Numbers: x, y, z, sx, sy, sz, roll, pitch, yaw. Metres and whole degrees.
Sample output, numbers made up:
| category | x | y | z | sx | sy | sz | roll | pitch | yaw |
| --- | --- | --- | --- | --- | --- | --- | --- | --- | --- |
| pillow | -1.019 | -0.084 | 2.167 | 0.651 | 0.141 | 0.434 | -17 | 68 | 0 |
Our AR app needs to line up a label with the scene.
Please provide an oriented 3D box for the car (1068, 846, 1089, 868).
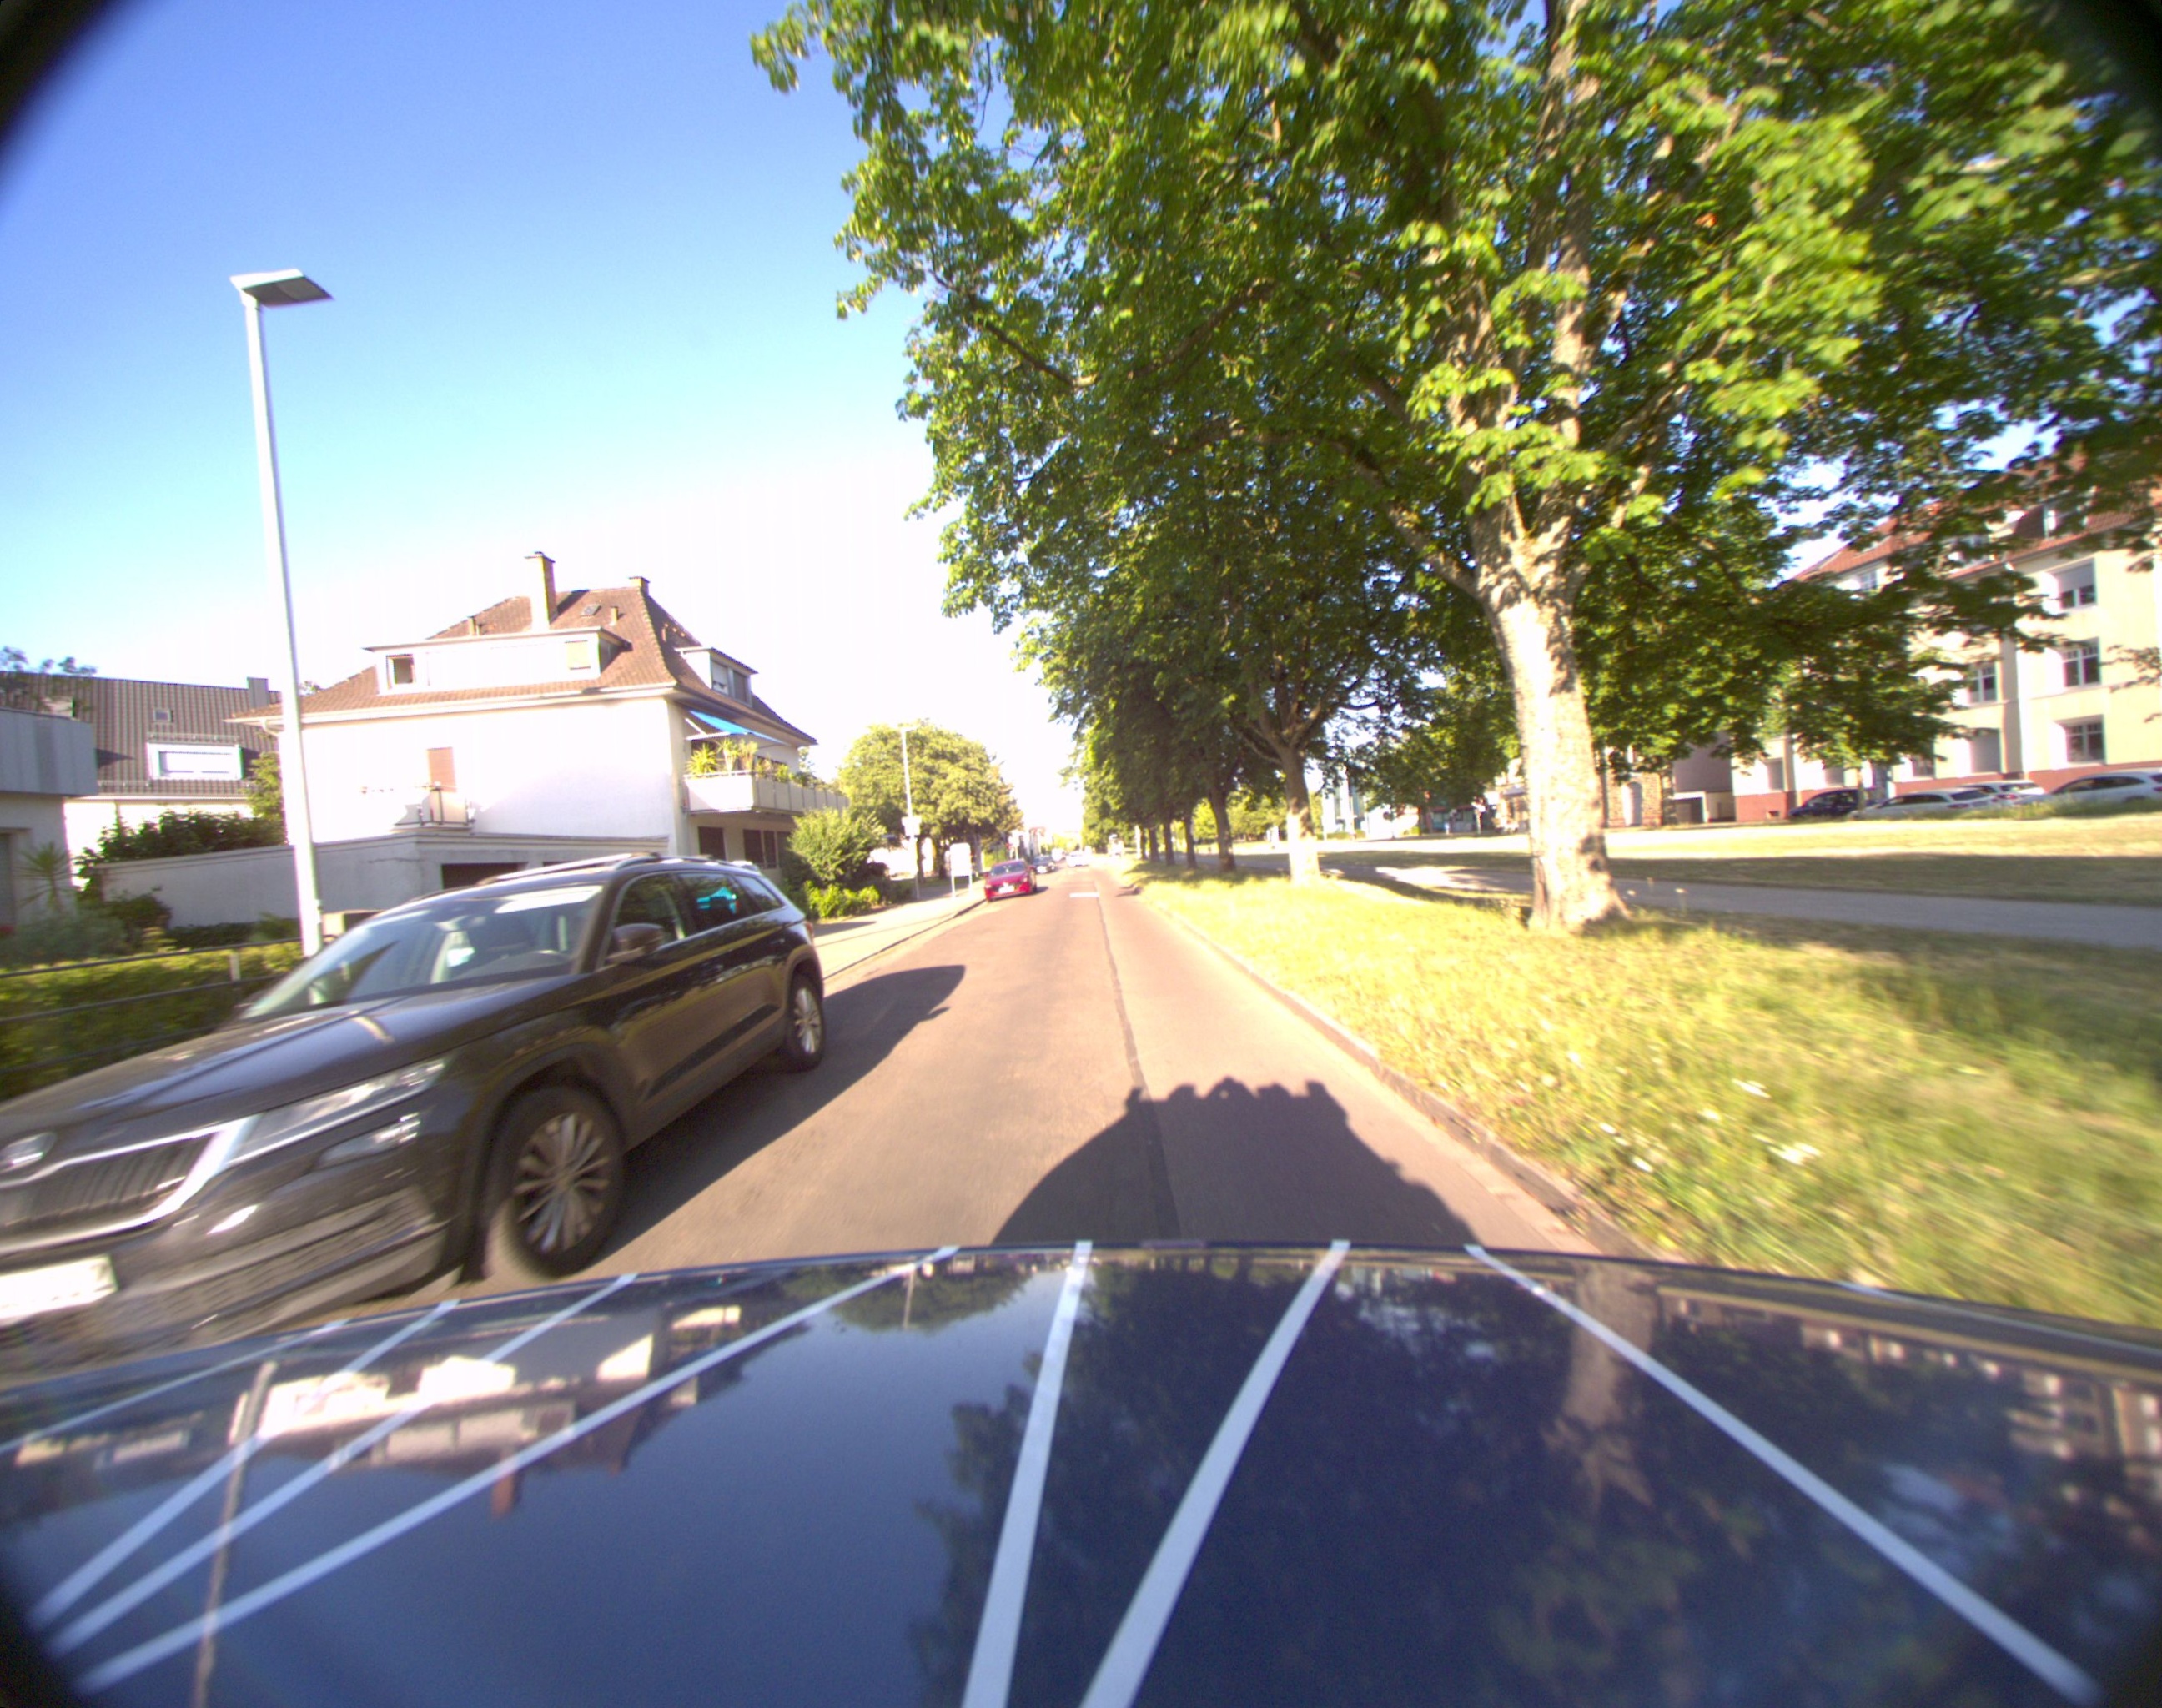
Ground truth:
| category | x | y | z | sx | sy | sz | roll | pitch | yaw |
| --- | --- | --- | --- | --- | --- | --- | --- | --- | --- |
| car | -0.225 | 0.317 | 78.025 | 1.998 | 2.002 | 3.999 | -6 | 1 | 1 |

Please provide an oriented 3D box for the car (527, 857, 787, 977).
| category | x | y | z | sx | sy | sz | roll | pitch | yaw |
| --- | --- | --- | --- | --- | --- | --- | --- | --- | --- |
| car | -8.454 | 1.195 | 15.481 | 3.998 | 1.917 | 1.999 | -5 | 1 | -3 |

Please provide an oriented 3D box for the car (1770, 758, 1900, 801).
| category | x | y | z | sx | sy | sz | roll | pitch | yaw |
| --- | --- | --- | --- | --- | --- | --- | --- | --- | --- |
| car | 40.170 | -3.927 | 40.693 | 1.999 | 1.680 | 4.874 | -5 | 1 | -1 |

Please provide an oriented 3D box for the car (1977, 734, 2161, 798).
| category | x | y | z | sx | sy | sz | roll | pitch | yaw |
| --- | --- | --- | --- | --- | --- | --- | --- | --- | --- |
| car | 34.123 | -2.953 | 25.640 | 1.998 | 1.680 | 4.875 | -5 | 1 | 1 |

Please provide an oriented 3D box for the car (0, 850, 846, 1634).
| category | x | y | z | sx | sy | sz | roll | pitch | yaw |
| --- | --- | --- | --- | --- | --- | --- | --- | --- | --- |
| car | -2.966 | 0.998 | 3.978 | 1.862 | 1.710 | 4.466 | -10 | 1 | -1 |

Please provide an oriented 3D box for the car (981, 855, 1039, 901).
| category | x | y | z | sx | sy | sz | roll | pitch | yaw |
| --- | --- | --- | --- | --- | --- | --- | --- | --- | --- |
| car | -2.736 | 0.890 | 30.139 | 1.824 | 1.486 | 4.223 | -5 | 1 | 0 |

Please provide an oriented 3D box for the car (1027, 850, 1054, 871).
| category | x | y | z | sx | sy | sz | roll | pitch | yaw |
| --- | --- | --- | --- | --- | --- | --- | --- | --- | --- |
| car | -3.361 | 0.507 | 63.972 | 1.998 | 1.576 | 4.346 | -2 | 1 | 1 |

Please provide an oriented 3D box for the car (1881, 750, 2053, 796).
| category | x | y | z | sx | sy | sz | roll | pitch | yaw |
| --- | --- | --- | --- | --- | --- | --- | --- | --- | --- |
| car | 39.803 | -3.598 | 34.372 | 1.999 | 1.445 | 4.874 | -5 | 1 | -1 |

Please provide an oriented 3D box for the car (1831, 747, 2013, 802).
| category | x | y | z | sx | sy | sz | roll | pitch | yaw |
| --- | --- | --- | --- | --- | --- | --- | --- | --- | --- |
| car | 34.159 | -3.161 | 31.121 | 1.998 | 1.680 | 4.875 | -5 | 1 | 1 |
